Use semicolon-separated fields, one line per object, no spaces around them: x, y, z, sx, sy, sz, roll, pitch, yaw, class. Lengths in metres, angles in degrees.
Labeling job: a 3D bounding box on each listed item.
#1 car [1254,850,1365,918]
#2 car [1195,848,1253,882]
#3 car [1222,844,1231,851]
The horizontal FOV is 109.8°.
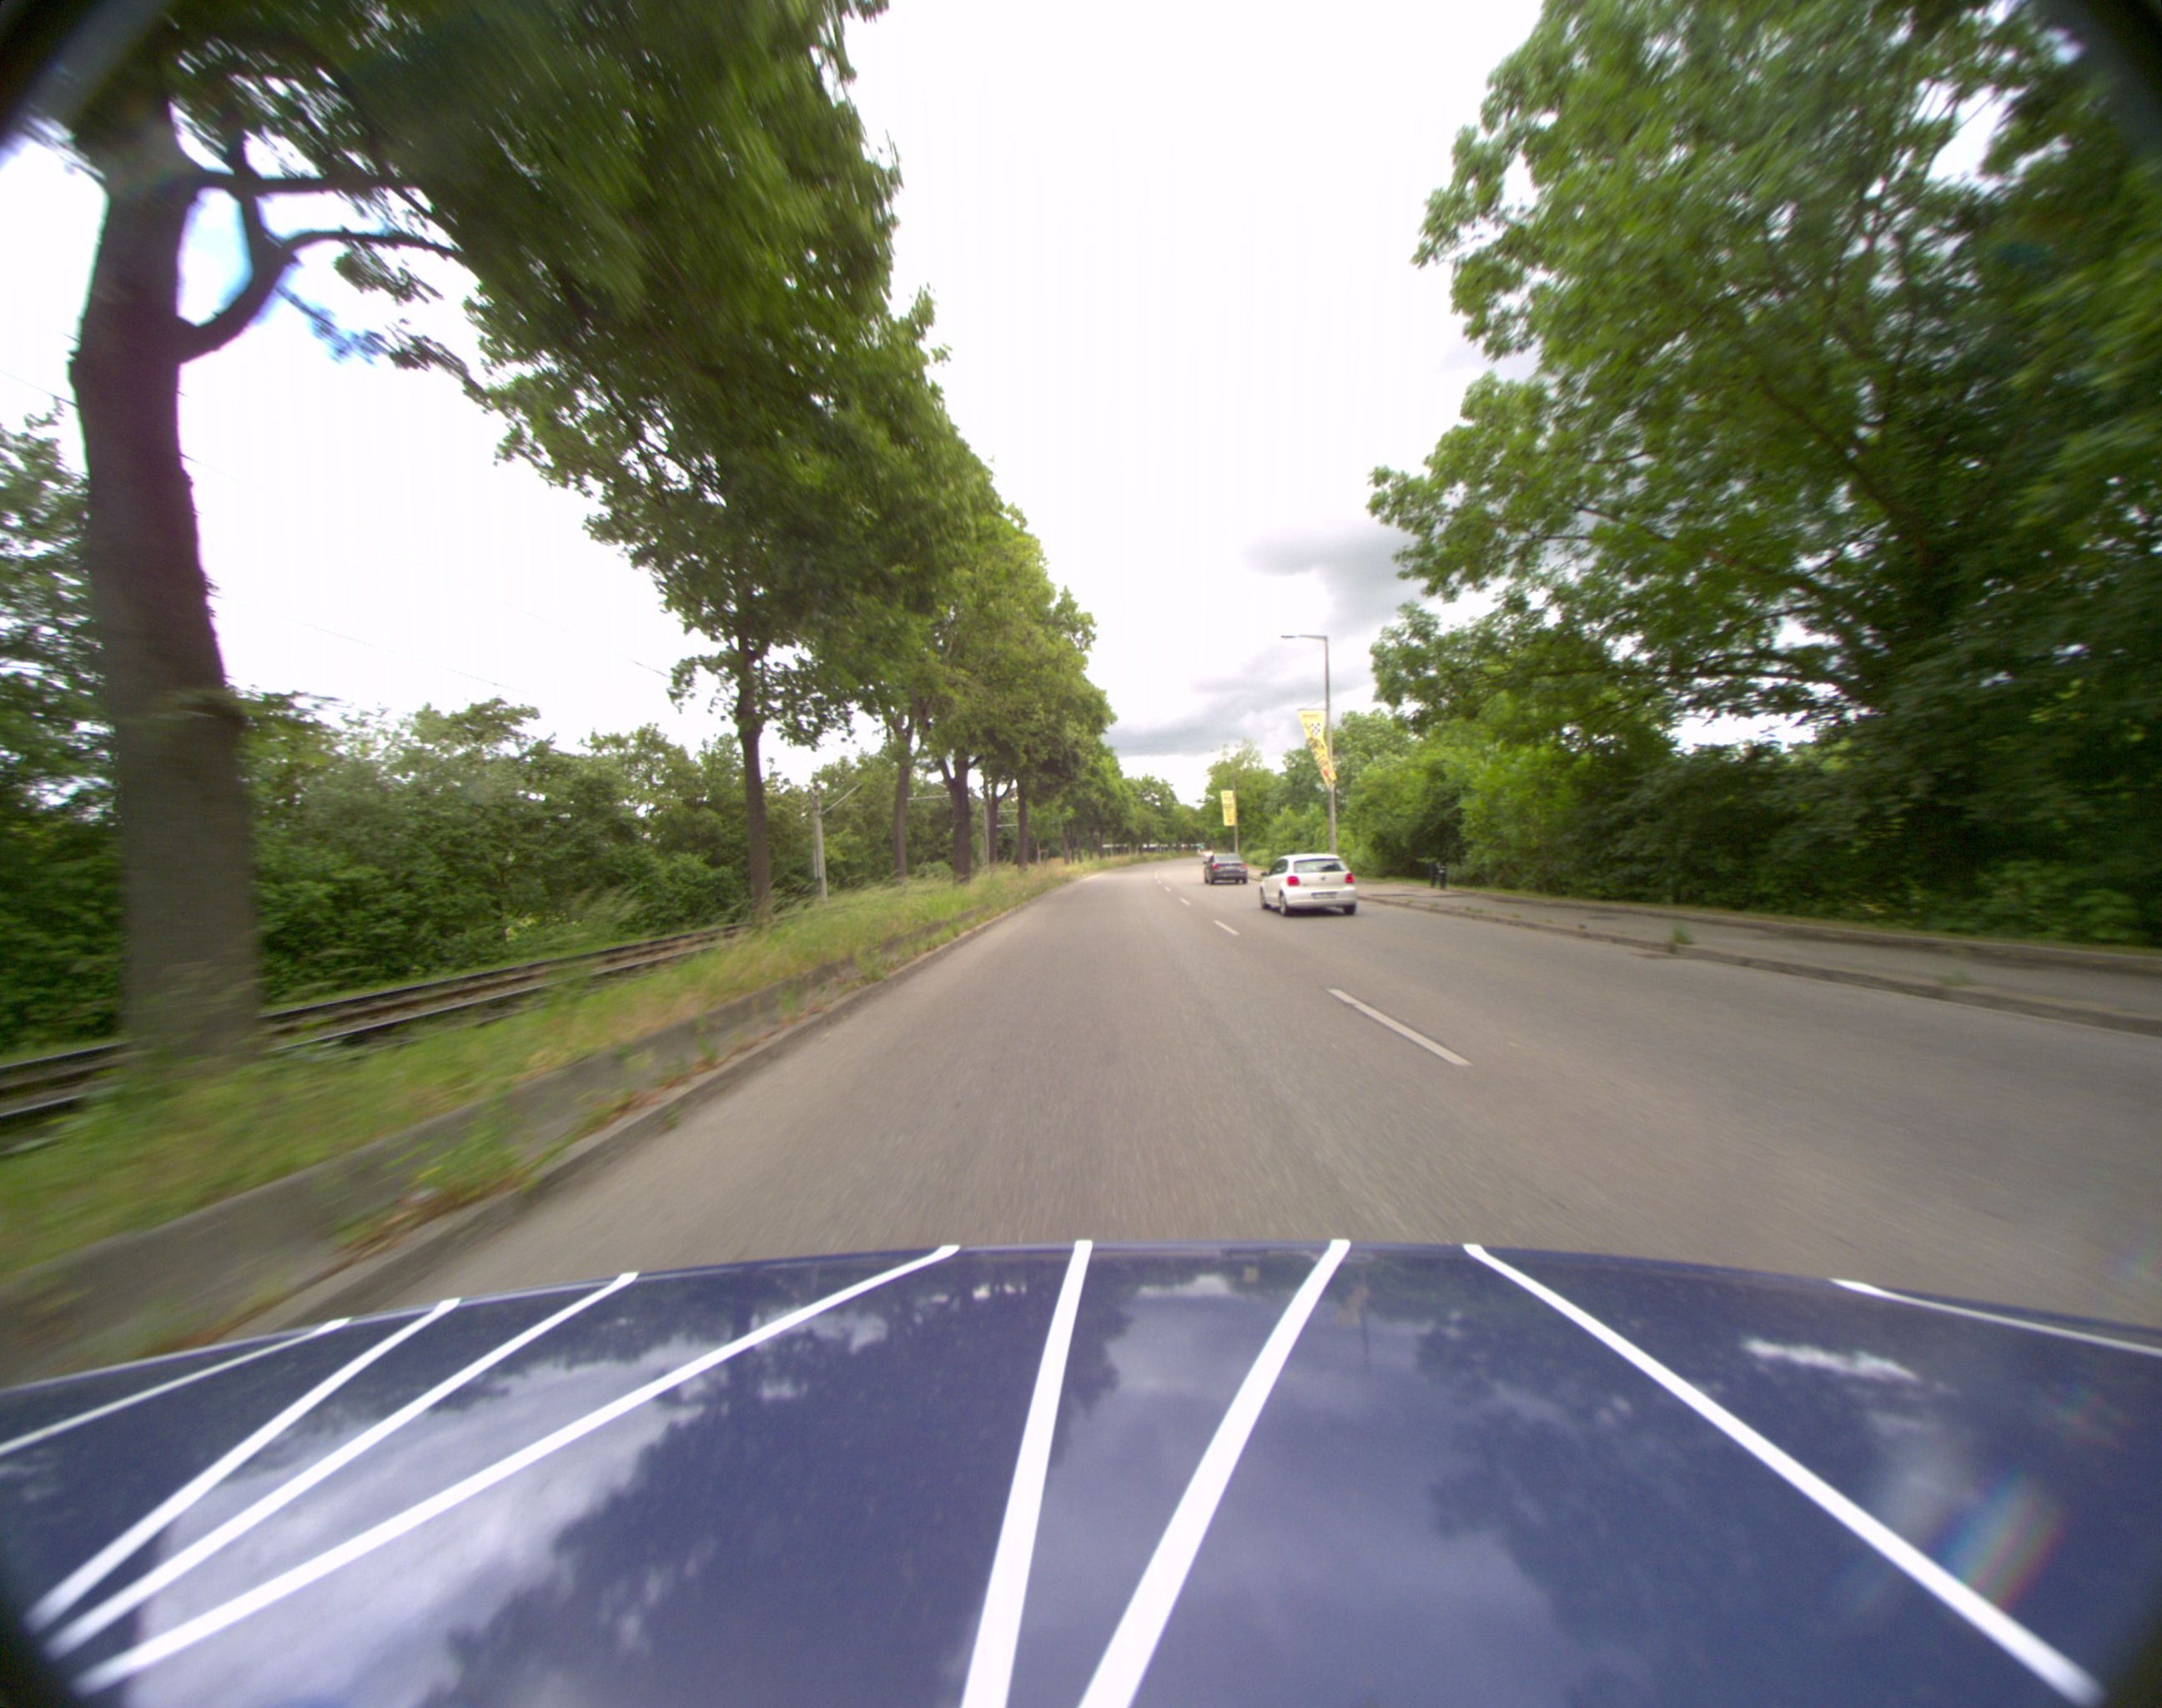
5.519;0.656;18.847;1.728;1.420;4.000;-2;1;3;car
6.937;0.499;37.284;1.998;1.496;4.279;-2;1;1;car
32.849;-1.536;171.565;1.797;1.401;4.004;-4;0;14;car
